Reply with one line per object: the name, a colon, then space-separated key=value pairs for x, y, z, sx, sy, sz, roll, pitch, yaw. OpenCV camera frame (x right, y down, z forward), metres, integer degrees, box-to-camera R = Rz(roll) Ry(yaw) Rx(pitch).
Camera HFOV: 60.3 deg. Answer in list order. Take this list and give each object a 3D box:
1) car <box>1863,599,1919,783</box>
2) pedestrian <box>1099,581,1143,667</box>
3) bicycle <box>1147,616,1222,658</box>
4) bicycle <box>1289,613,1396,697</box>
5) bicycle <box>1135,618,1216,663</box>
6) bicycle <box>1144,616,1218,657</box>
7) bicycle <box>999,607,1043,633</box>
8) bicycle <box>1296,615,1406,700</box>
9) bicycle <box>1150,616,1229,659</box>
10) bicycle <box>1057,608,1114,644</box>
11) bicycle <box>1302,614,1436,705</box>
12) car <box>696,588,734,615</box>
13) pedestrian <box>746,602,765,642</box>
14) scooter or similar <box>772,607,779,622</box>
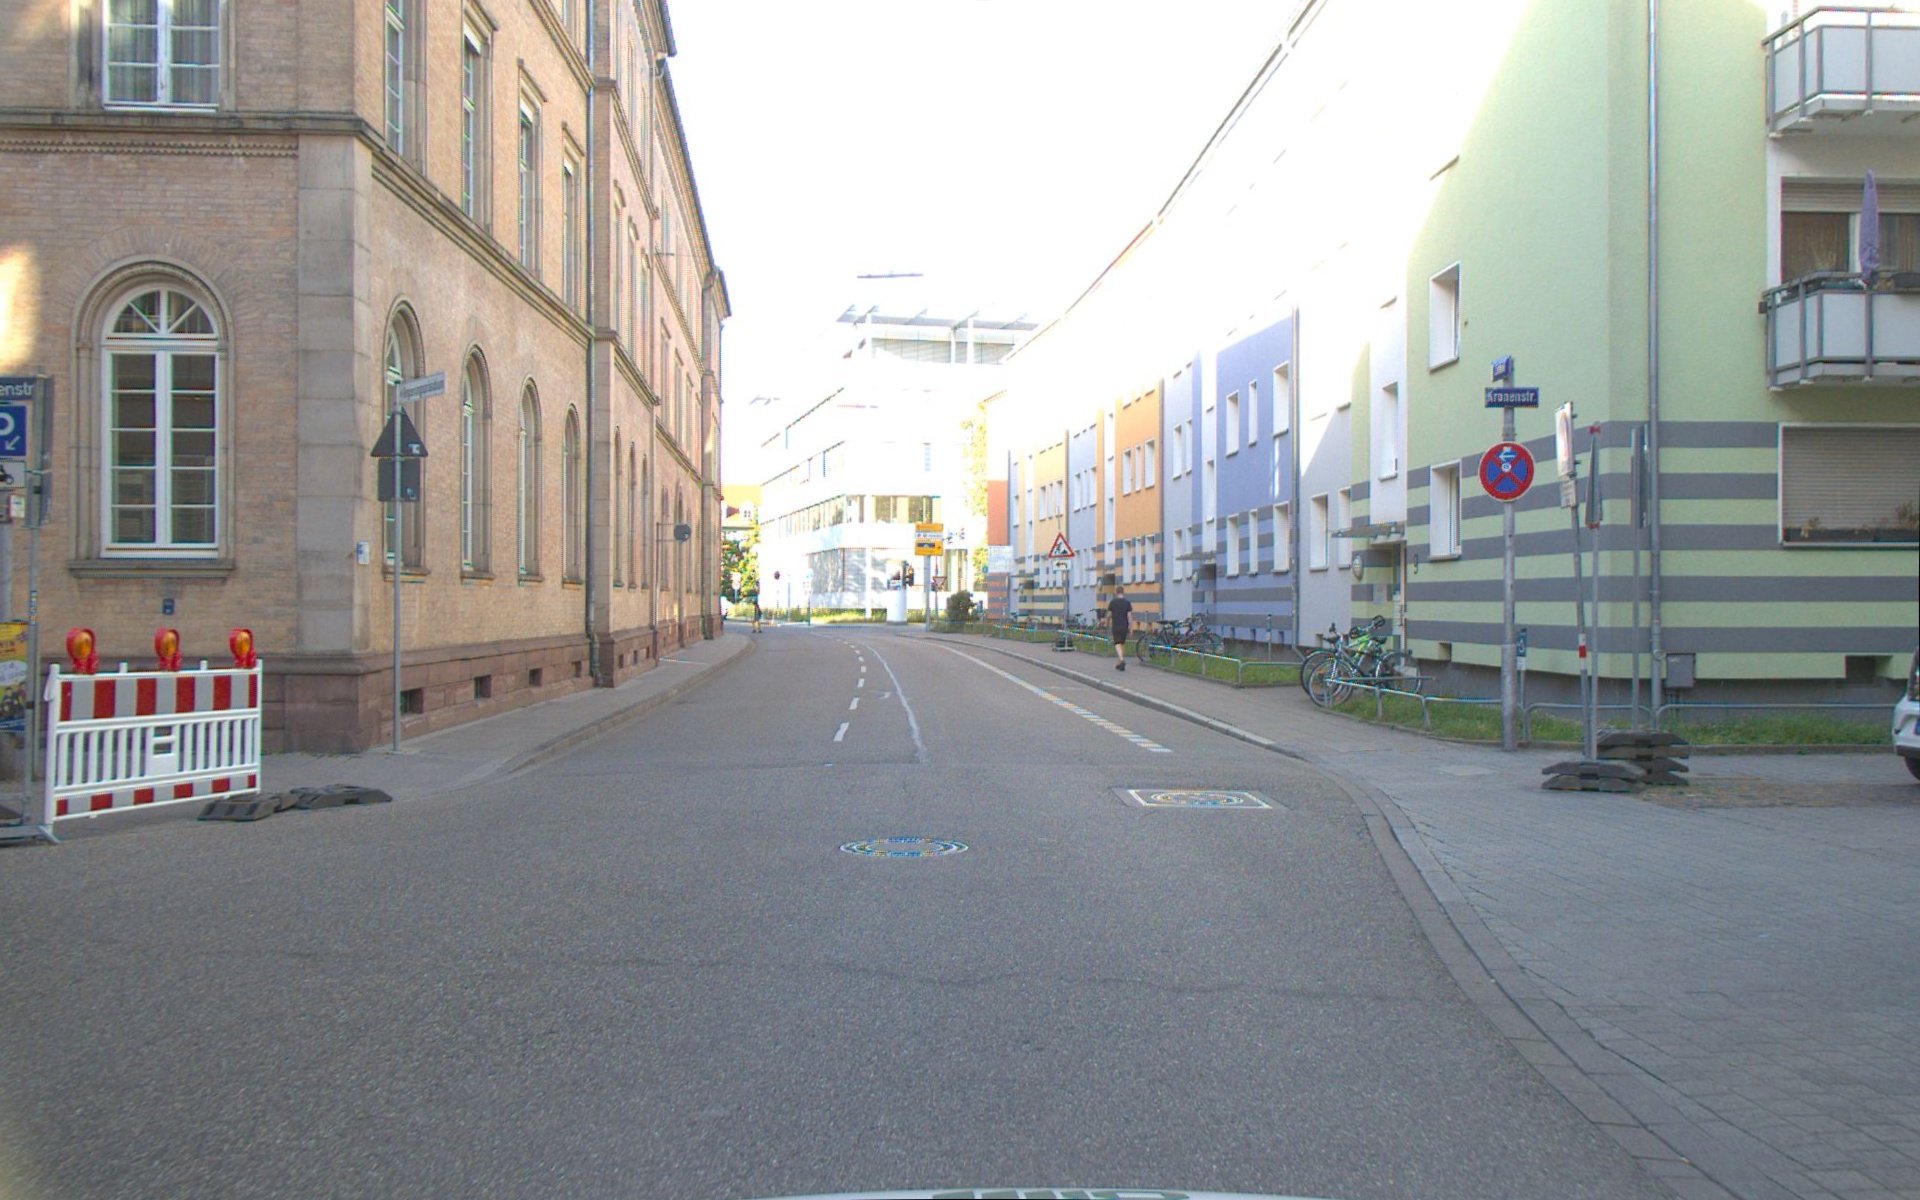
car: x=9.624 y=0.768 z=13.616 sx=3.474 sy=1.508 sz=1.708 roll=1 pitch=0 yaw=-3
pedestrian: x=3.446 y=0.499 z=35.461 sx=0.683 sy=1.790 sz=1.188 roll=-2 pitch=0 yaw=-4
bicycle: x=5.299 y=0.873 z=39.092 sx=1.713 sy=0.963 sz=0.325 roll=-1 pitch=-1 yaw=-3
bicycle: x=5.807 y=0.825 z=25.104 sx=1.574 sy=1.161 sz=0.236 roll=-3 pitch=0 yaw=-12
bicycle: x=4.855 y=0.905 z=37.316 sx=1.714 sy=0.963 sz=0.551 roll=-1 pitch=-1 yaw=-4
bicycle: x=5.299 y=0.870 z=39.611 sx=1.714 sy=0.963 sz=0.335 roll=-1 pitch=-1 yaw=-4
bicycle: x=2.495 y=0.827 z=68.111 sx=1.721 sy=1.021 sz=0.612 roll=-1 pitch=-1 yaw=-9
bicycle: x=5.873 y=0.860 z=24.836 sx=1.612 sy=1.161 sz=0.282 roll=-3 pitch=0 yaw=-12
bicycle: x=5.266 y=0.853 z=38.047 sx=1.714 sy=0.963 sz=0.551 roll=-1 pitch=-1 yaw=-4
bicycle: x=4.083 y=0.854 z=53.904 sx=1.775 sy=1.157 sz=0.551 roll=0 pitch=-1 yaw=-6
bicycle: x=5.782 y=0.830 z=23.424 sx=1.714 sy=1.161 sz=0.551 roll=-3 pitch=0 yaw=-4
car: x=-20.020 y=0.144 z=135.228 sx=2.385 sy=2.149 sz=5.208 roll=2 pitch=-1 yaw=-16
pedestrian: x=-10.650 y=1.136 z=86.107 sx=0.880 sy=2.049 sz=0.751 roll=0 pitch=-1 yaw=-12
scooter or similar: x=-13.071 y=1.003 z=117.037 sx=0.319 sy=1.078 sz=1.137 roll=0 pitch=0 yaw=-15
